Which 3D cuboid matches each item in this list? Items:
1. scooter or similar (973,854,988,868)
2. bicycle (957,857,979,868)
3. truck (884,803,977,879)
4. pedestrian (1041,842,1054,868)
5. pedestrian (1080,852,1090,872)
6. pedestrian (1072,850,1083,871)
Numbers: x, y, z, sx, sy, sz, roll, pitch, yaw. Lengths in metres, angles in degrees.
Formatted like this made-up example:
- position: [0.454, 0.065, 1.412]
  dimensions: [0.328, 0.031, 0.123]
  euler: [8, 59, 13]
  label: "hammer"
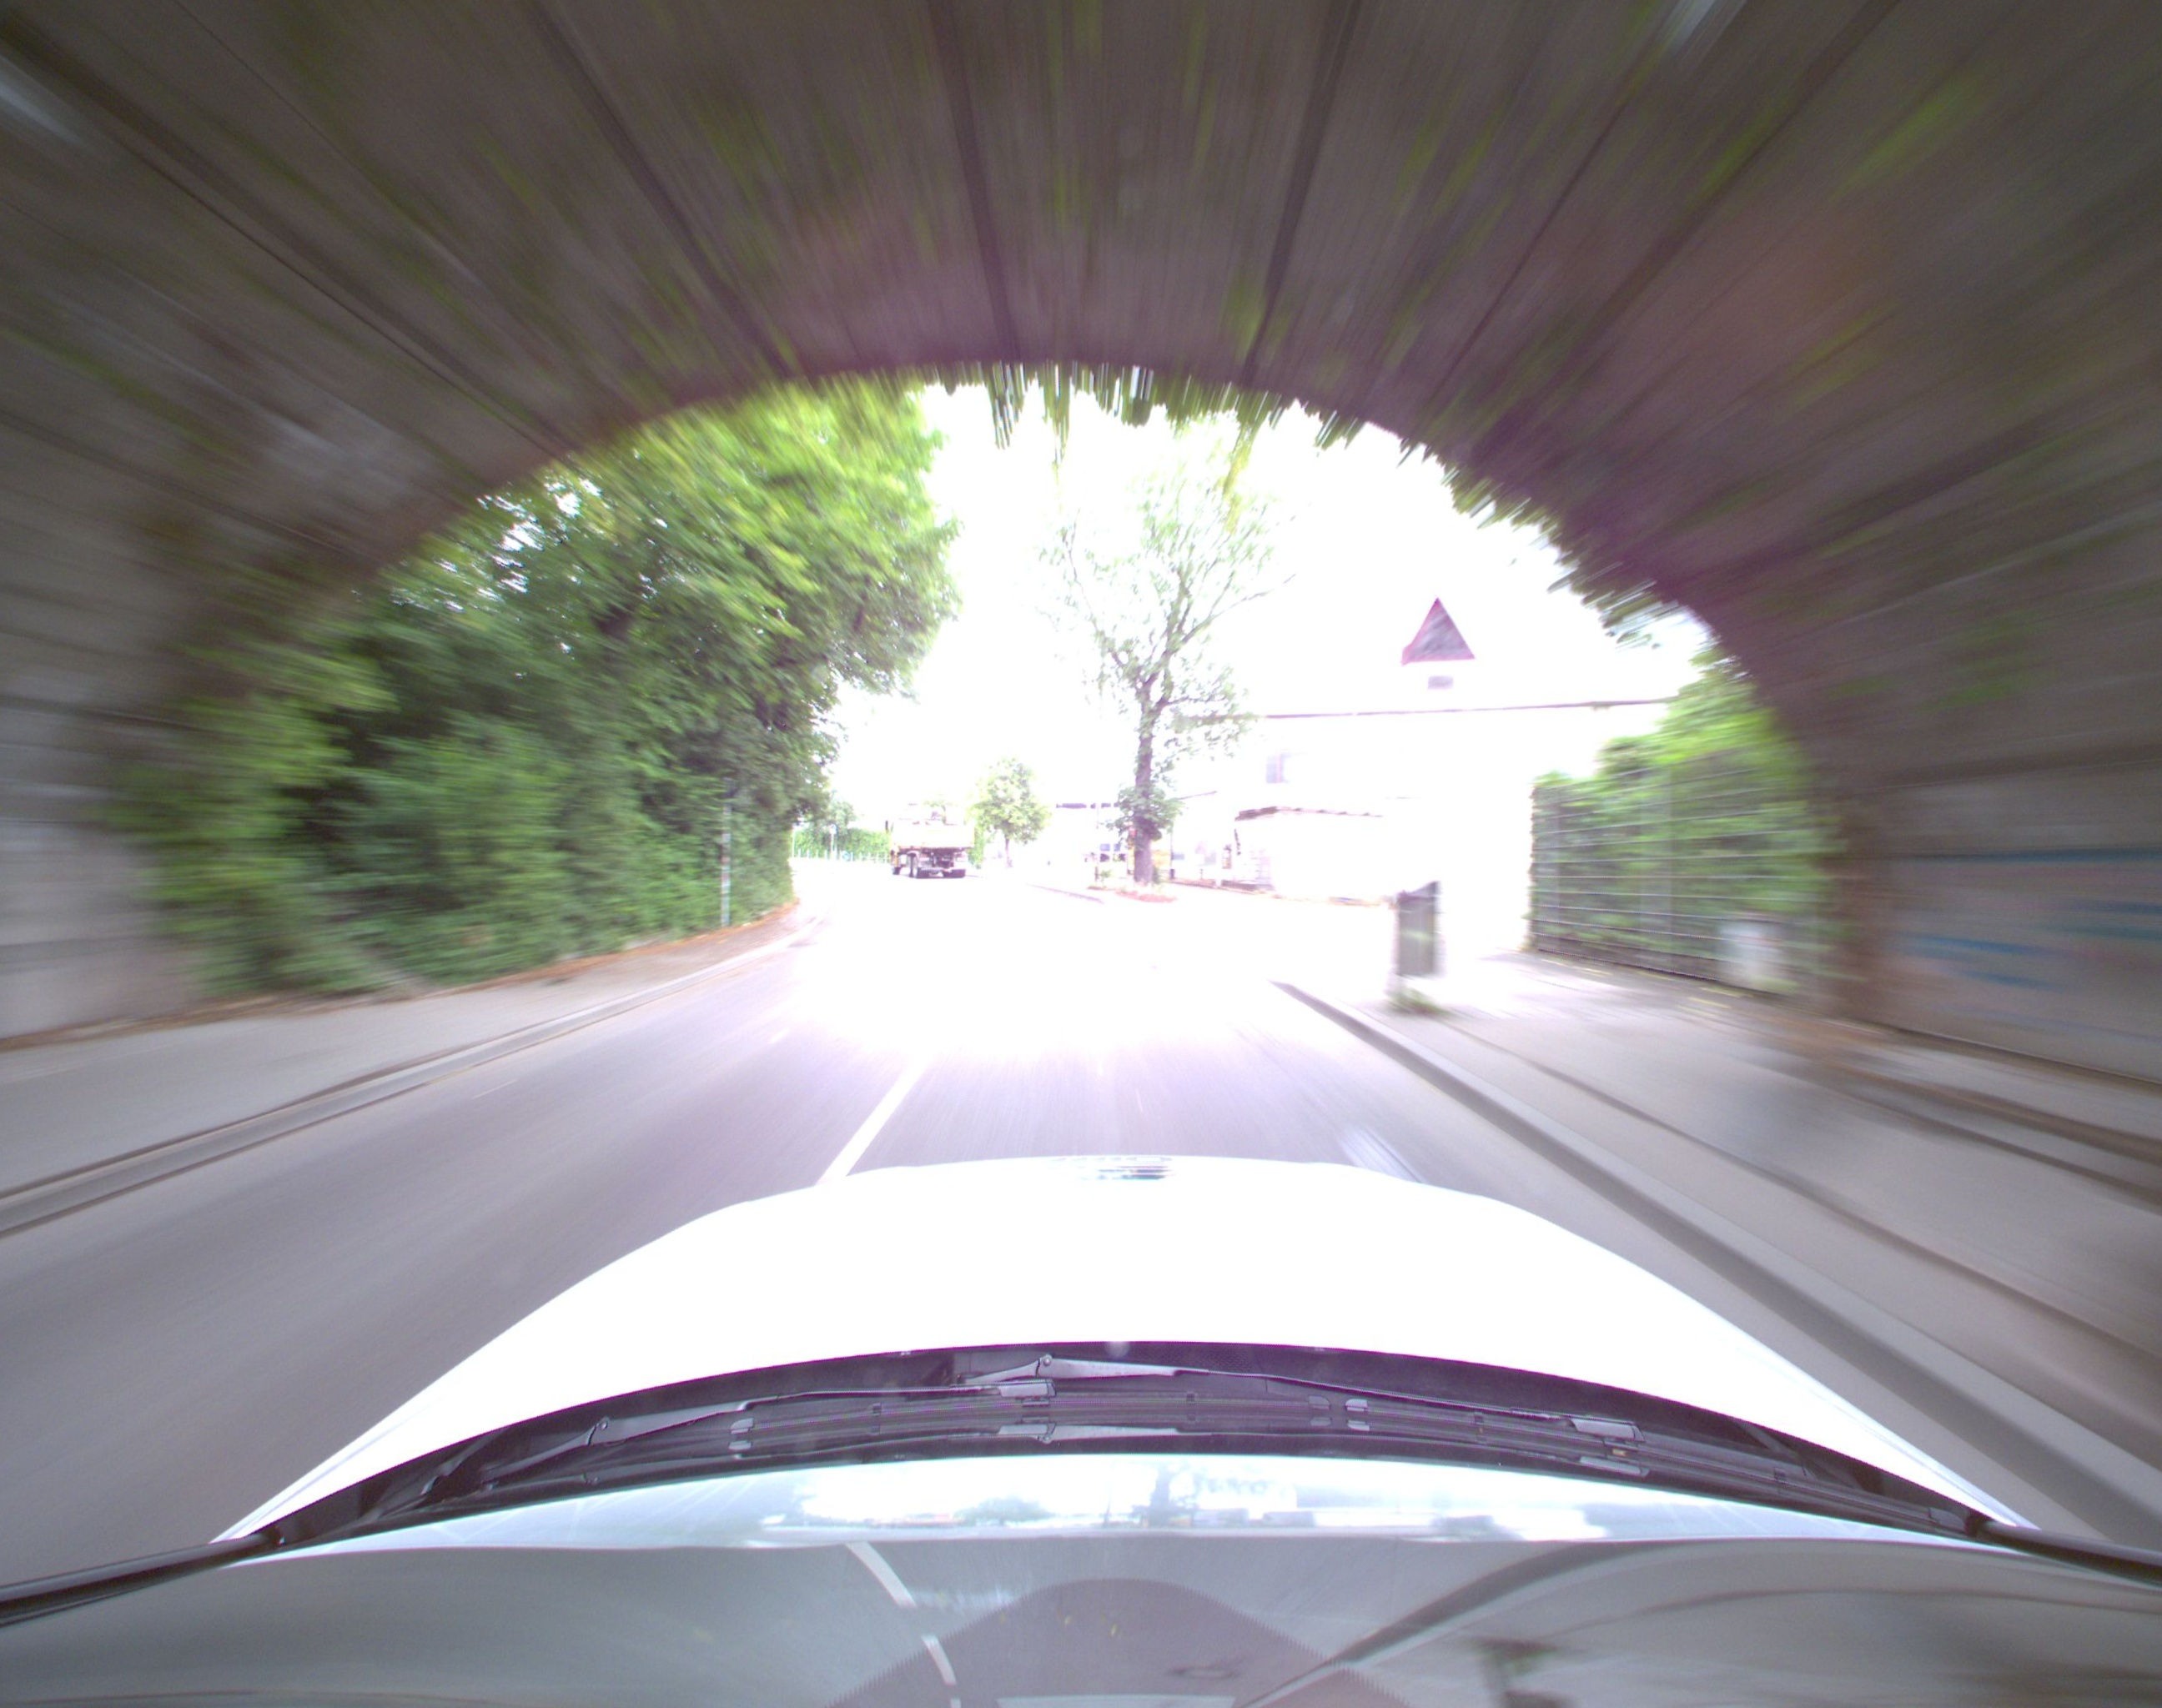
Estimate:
- position: [-9.123, 0.660, 73.645]
  dimensions: [1.195, 1.206, 0.463]
  euler: [4, -3, -33]
  label: "scooter or similar"
- position: [-10.322, 0.781, 74.562]
  dimensions: [1.980, 0.865, 0.505]
  euler: [6, -3, -37]
  label: "bicycle"
- position: [-7.971, -0.706, 42.066]
  dimensions: [2.778, 3.483, 8.064]
  euler: [2, 1, -25]
  label: "truck"
- position: [-2.269, 0.073, 55.478]
  dimensions: [0.845, 1.684, 0.940]
  euler: [0, -2, -1]
  label: "pedestrian"
- position: [0.339, 0.635, 65.417]
  dimensions: [0.796, 1.583, 0.802]
  euler: [0, -2, 3]
  label: "pedestrian"
- position: [-0.267, 0.513, 63.860]
  dimensions: [0.810, 1.703, 0.749]
  euler: [0, -2, 3]
  label: "pedestrian"
